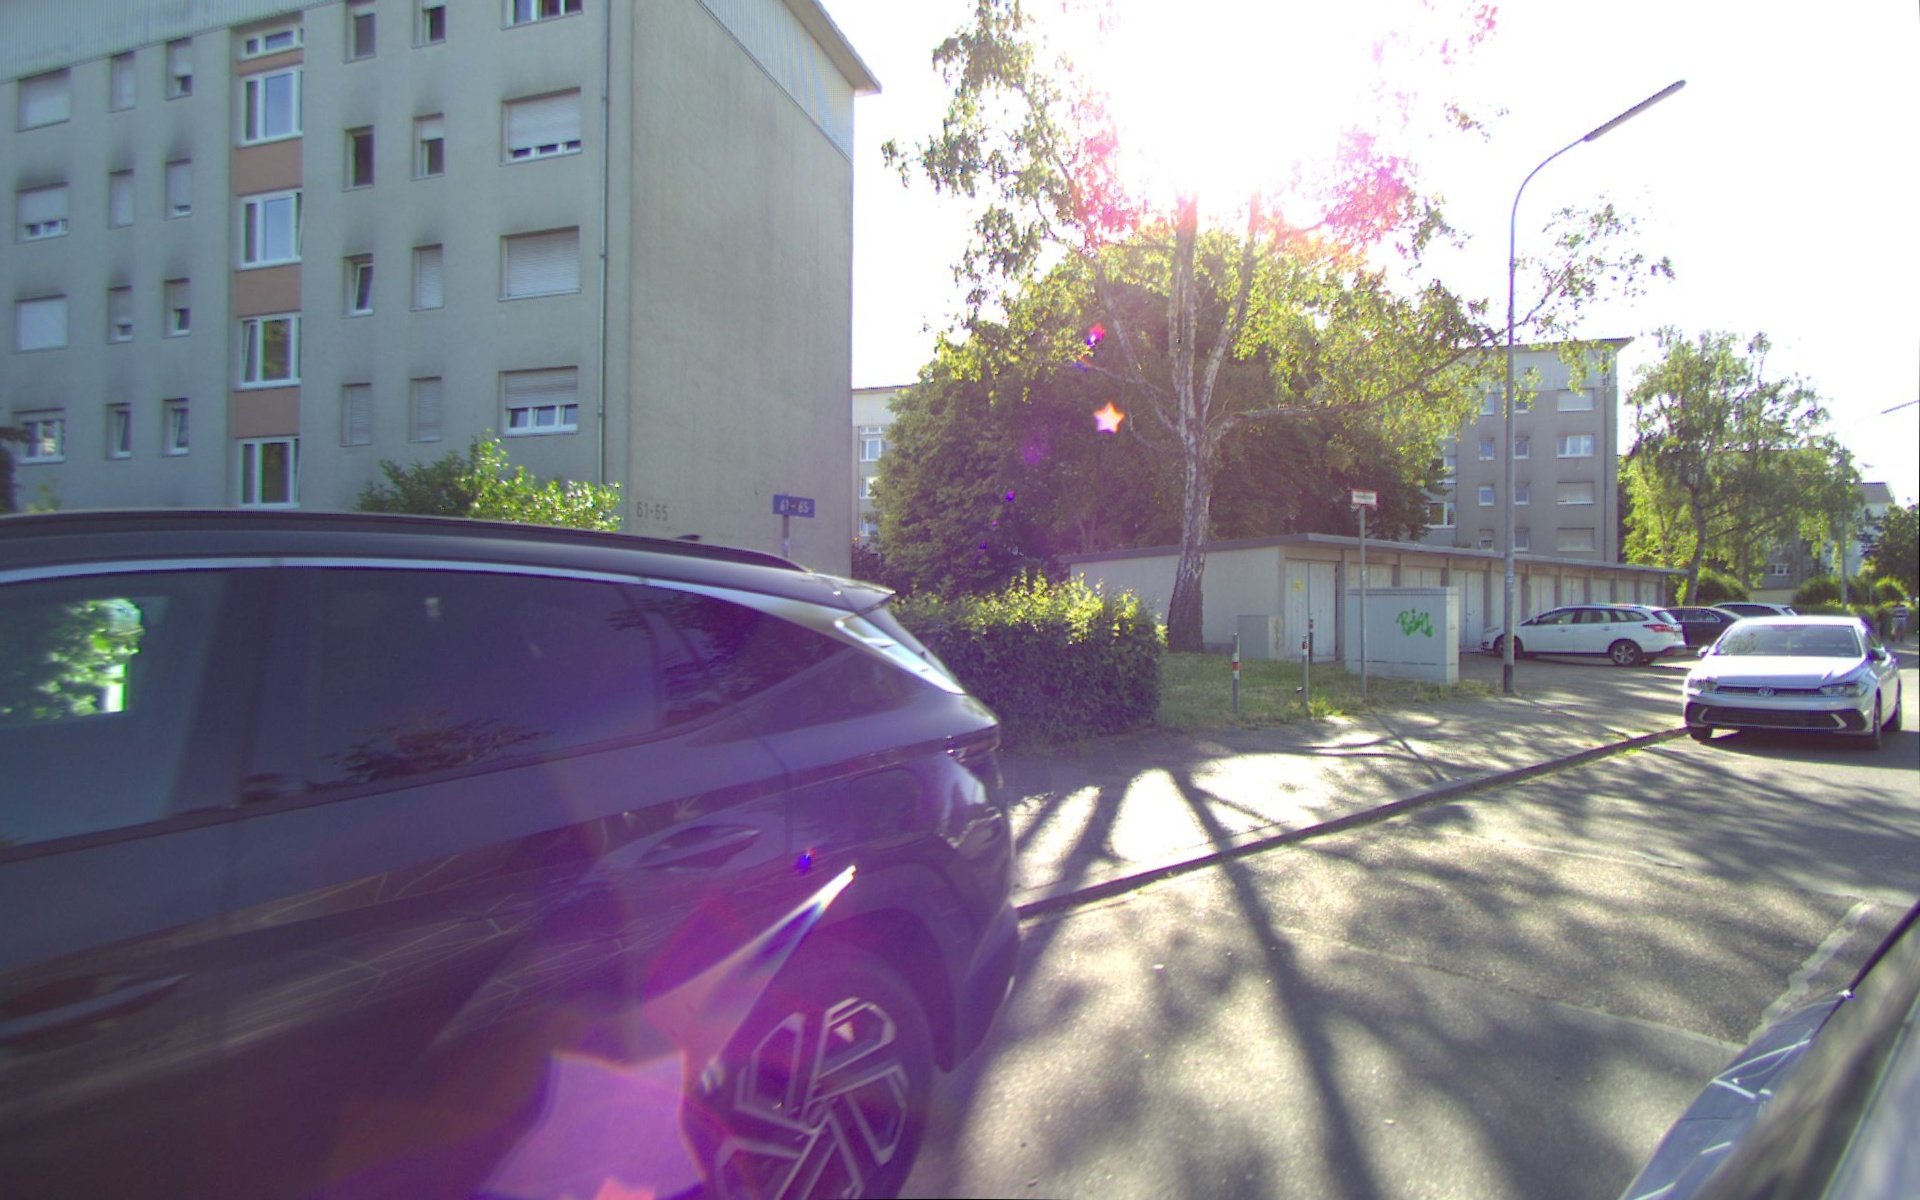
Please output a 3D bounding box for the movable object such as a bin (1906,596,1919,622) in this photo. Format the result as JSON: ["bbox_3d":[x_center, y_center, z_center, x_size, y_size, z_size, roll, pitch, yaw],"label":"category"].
[{"bbox_3d":[52.625,0.494,55.275,1.112,1.382,1.227,0,0,-37],"label":"movable object such as a bin"}]

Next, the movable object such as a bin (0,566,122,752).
[{"bbox_3d":[-7.446,0.441,7.981,1.257,1.370,1.256,0,-1,-41],"label":"movable object such as a bin"}]

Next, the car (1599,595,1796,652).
[{"bbox_3d":[22.215,0.649,30.655,1.796,1.532,4.523,0,1,-39],"label":"car"}]

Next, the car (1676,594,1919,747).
[{"bbox_3d":[10.195,0.737,12.205,4.035,1.533,1.754,0,-2,-44],"label":"car"}]

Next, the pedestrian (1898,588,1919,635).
[{"bbox_3d":[39.796,0.472,42.310,0.857,1.912,0.705,0,1,-40],"label":"pedestrian"}]

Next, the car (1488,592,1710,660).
[{"bbox_3d":[16.015,0.591,25.546,1.796,1.532,4.424,0,1,-40],"label":"car"}]

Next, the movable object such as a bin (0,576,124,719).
[{"bbox_3d":[-9.475,0.466,10.331,1.253,1.370,1.260,-1,-1,41],"label":"movable object such as a bin"}]

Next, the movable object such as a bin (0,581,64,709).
[{"bbox_3d":[-10.782,0.485,11.086,1.252,1.370,1.261,-1,-1,39],"label":"movable object such as a bin"}]

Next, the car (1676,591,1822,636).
[{"bbox_3d":[28.496,0.443,36.632,1.798,1.532,3.947,0,1,-43],"label":"car"}]

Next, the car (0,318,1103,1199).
[{"bbox_3d":[-1.954,0.477,1.958,4.547,1.660,1.911,0,-1,-41],"label":"car"}]

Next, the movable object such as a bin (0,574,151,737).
[{"bbox_3d":[-8.187,0.473,9.188,1.257,1.370,1.256,0,-1,-41],"label":"movable object such as a bin"}]
